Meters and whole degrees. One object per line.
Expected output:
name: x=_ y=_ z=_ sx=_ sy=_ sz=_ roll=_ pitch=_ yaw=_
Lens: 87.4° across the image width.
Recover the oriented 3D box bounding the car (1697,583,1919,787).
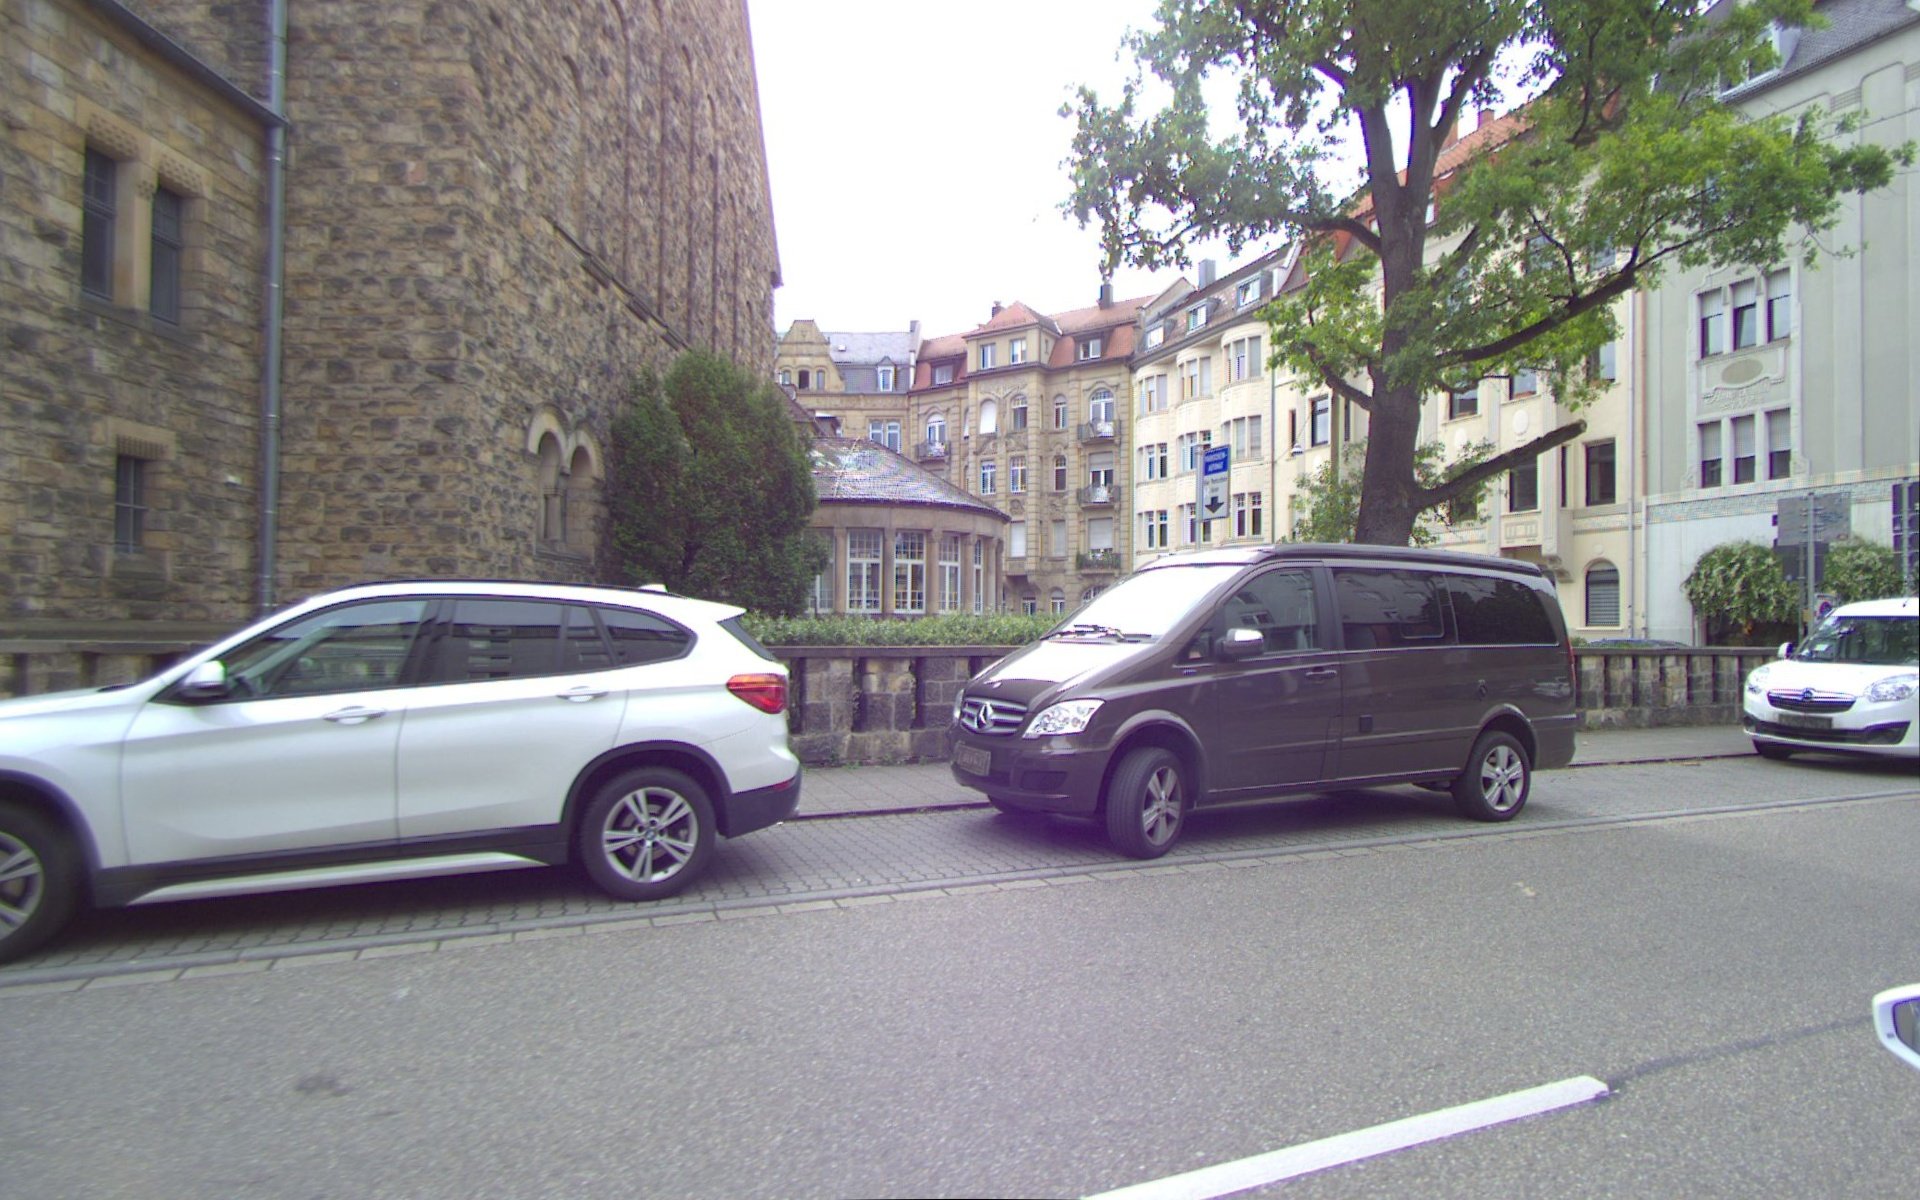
car: x=10.776 y=0.864 z=11.369 sx=4.480 sy=1.965 sz=1.840 roll=1 pitch=-1 yaw=-21

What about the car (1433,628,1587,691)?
car: x=16.679 y=1.789 z=30.642 sx=1.743 sy=1.739 sz=3.808 roll=-1 pitch=-2 yaw=-24

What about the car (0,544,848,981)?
car: x=-2.956 y=0.668 z=5.308 sx=4.370 sy=1.711 sz=1.839 roll=1 pitch=-1 yaw=-24

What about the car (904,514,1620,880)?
car: x=2.316 y=0.601 z=7.564 sx=5.110 sy=2.040 sz=2.008 roll=1 pitch=-1 yaw=-24

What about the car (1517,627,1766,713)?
car: x=14.192 y=1.408 z=21.195 sx=1.744 sy=1.627 sz=4.047 roll=2 pitch=-3 yaw=-24
